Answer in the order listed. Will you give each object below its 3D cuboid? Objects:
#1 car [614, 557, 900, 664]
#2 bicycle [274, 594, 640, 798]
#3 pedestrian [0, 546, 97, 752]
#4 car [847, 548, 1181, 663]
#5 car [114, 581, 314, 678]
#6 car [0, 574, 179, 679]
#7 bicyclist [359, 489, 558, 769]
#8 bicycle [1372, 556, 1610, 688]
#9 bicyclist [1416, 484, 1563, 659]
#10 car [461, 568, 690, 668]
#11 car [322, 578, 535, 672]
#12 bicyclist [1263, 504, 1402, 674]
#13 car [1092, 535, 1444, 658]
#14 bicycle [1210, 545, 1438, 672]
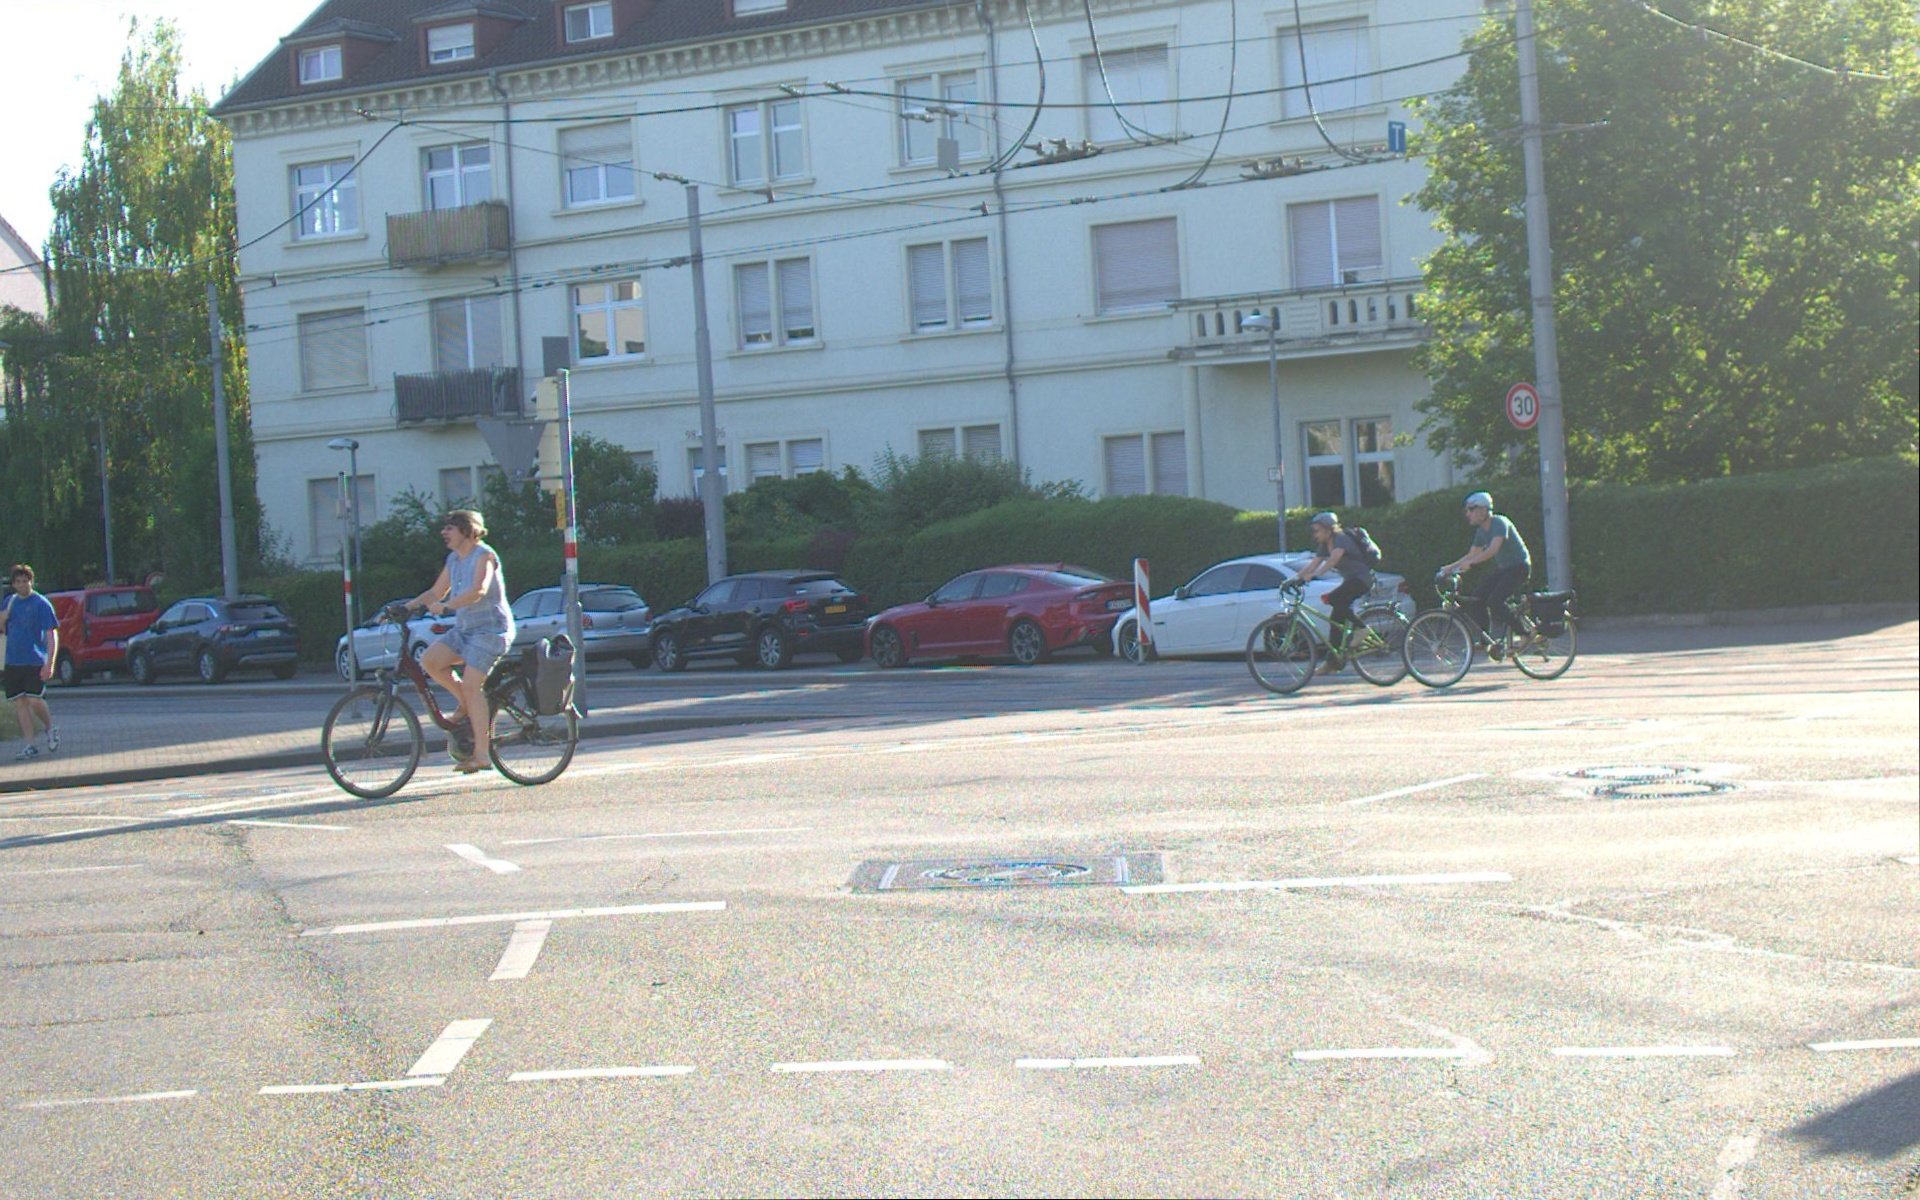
[{"bbox_3d":[-3.266,0.185,54.637,1.982,1.442,4.703,-7,3,-41],"label":"car"},{"bbox_3d":[-2.991,0.554,20.529,2.013,1.065,0.663,-4,1,-32],"label":"bicycle"},{"bbox_3d":[-8.934,0.464,33.099,0.912,1.918,1.067,-3,1,-2],"label":"pedestrian"},{"bbox_3d":[0.746,0.099,50.127,4.702,1.371,1.982,-2,3,44],"label":"car"},{"bbox_3d":[-14.617,0.594,67.214,1.840,1.662,4.368,-7,3,-41],"label":"car"},{"bbox_3d":[-18.653,0.575,72.255,2.051,1.955,5.148,-7,3,-41],"label":"car"},{"bbox_3d":[-3.008,0.167,20.602,0.854,1.600,0.777,-3,1,-32],"label":"bicyclist"},{"bbox_3d":[4.816,0.193,31.182,2.012,1.065,0.664,-3,1,-20],"label":"bicycle"},{"bbox_3d":[4.806,-0.259,31.234,1.034,1.526,0.698,-3,1,-20],"label":"bicyclist"},{"bbox_3d":[-6.501,0.319,57.883,1.982,1.442,3.717,-7,3,-41],"label":"car"},{"bbox_3d":[-9.514,0.462,61.378,1.840,1.442,3.957,-7,3,-41],"label":"car"},{"bbox_3d":[3.495,-0.102,32.261,1.034,1.526,0.661,-3,1,-24],"label":"bicyclist"},{"bbox_3d":[4.086,-0.028,46.131,1.926,1.371,4.494,-7,3,-42],"label":"car"},{"bbox_3d":[3.412,0.075,32.164,2.012,1.065,0.664,-3,1,-24],"label":"bicycle"}]
